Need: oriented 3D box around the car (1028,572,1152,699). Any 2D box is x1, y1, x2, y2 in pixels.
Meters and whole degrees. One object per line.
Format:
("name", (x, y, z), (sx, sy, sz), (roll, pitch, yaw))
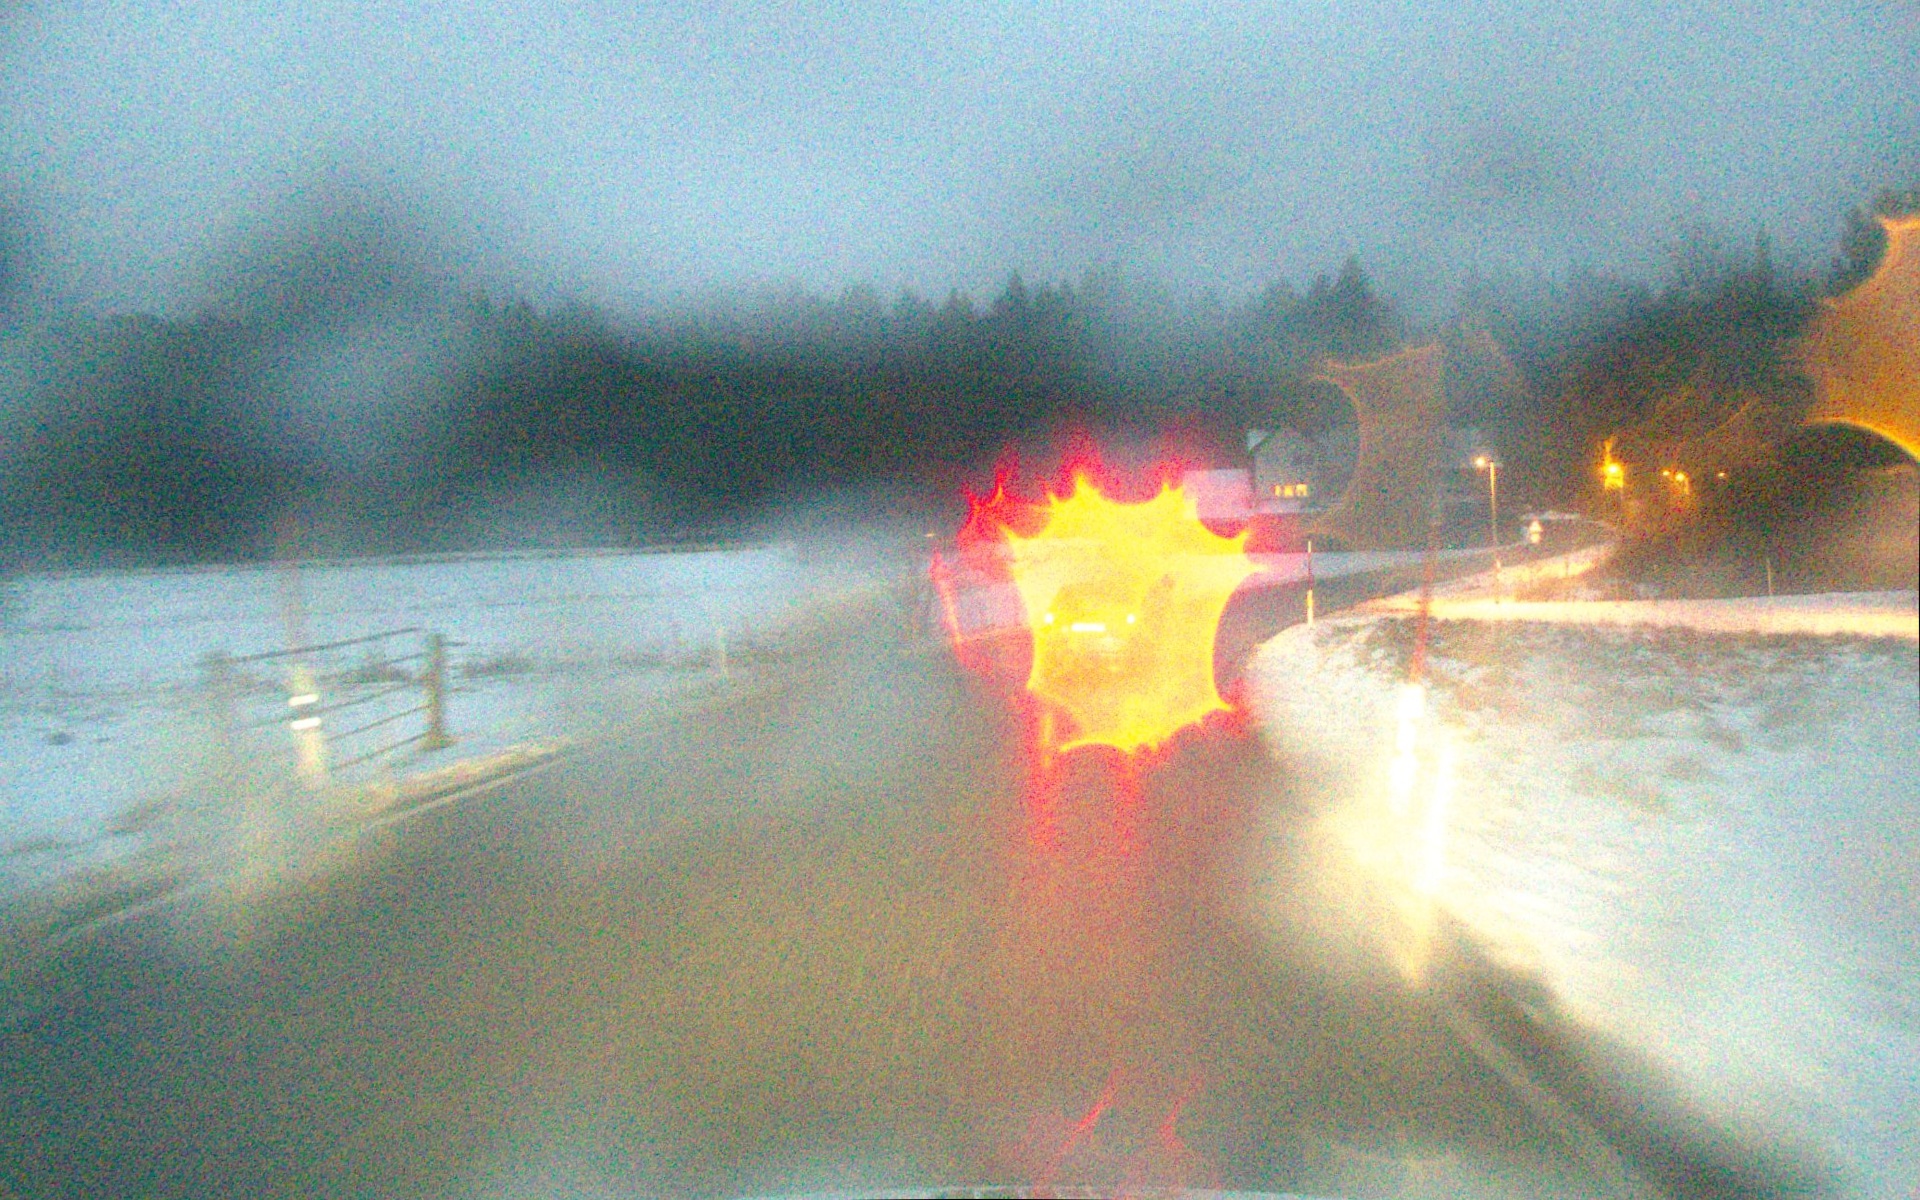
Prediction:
("car", (2.104, 0.522, 26.671), (1.784, 1.828, 3.580), (-3, 0, 5))
